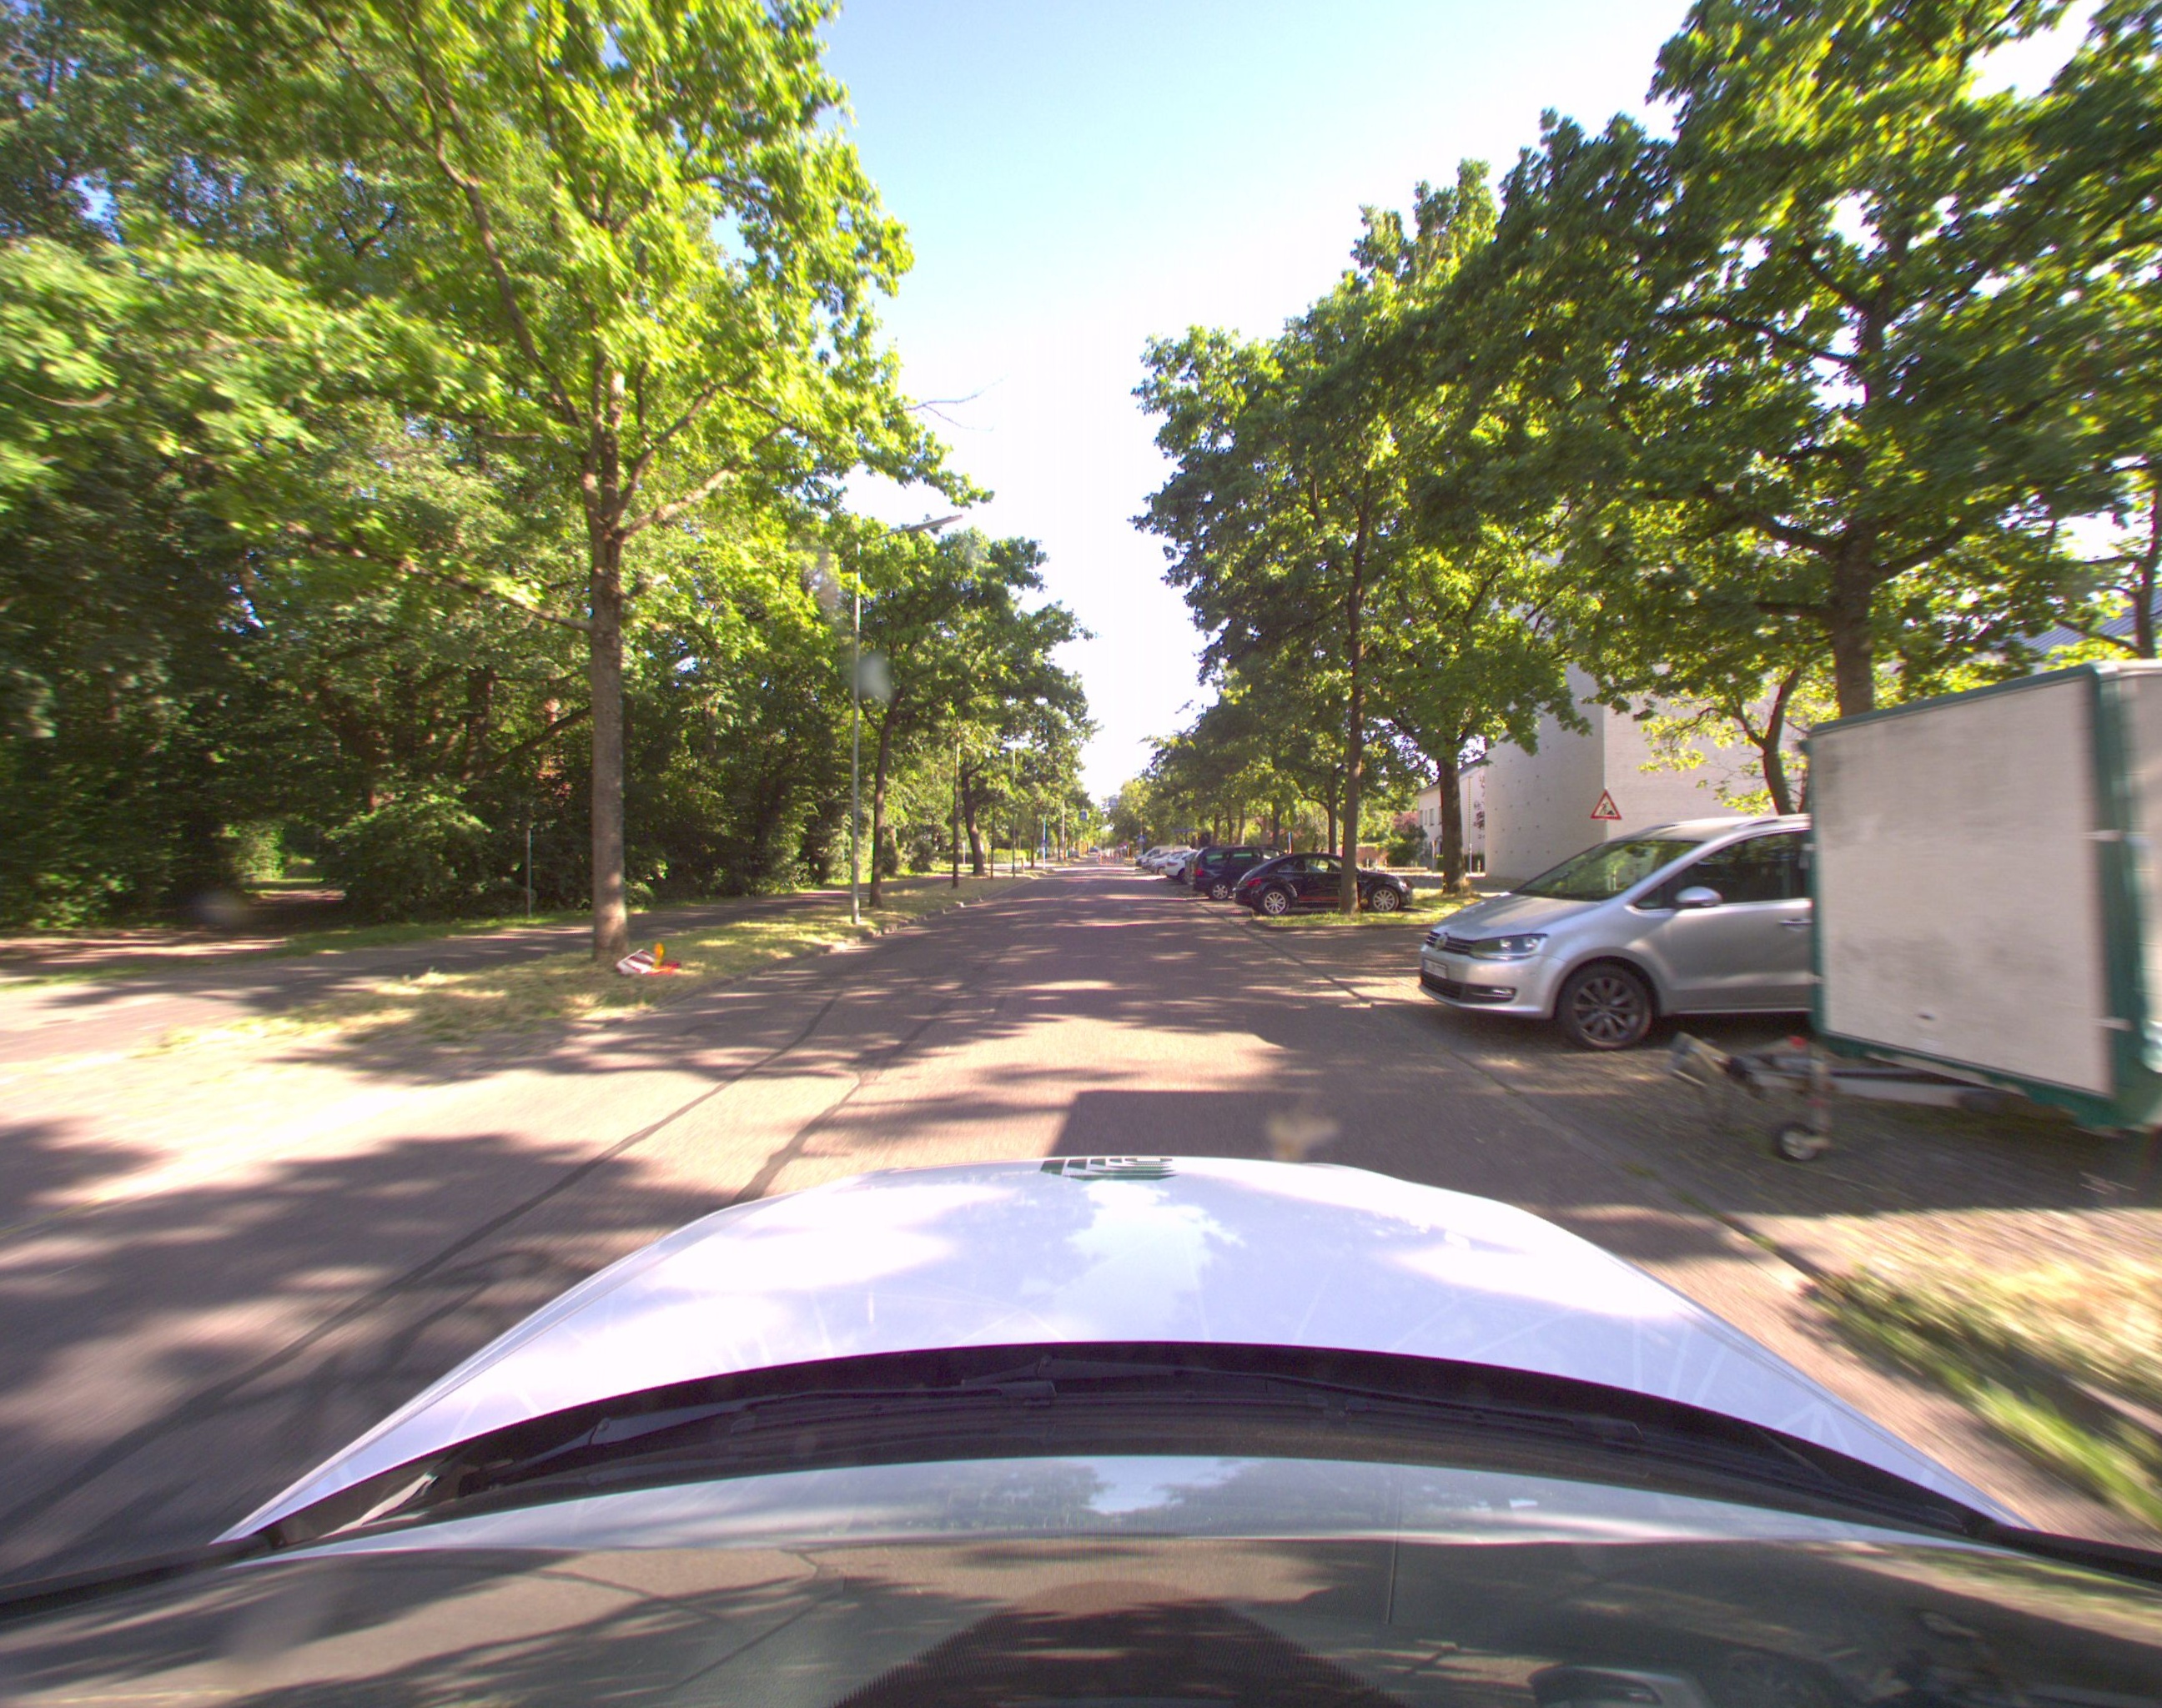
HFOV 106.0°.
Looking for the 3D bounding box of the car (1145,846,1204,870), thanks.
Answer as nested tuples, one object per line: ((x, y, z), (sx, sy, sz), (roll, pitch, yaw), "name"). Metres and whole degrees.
((7.280, 0.299, 63.514), (4.370, 1.651, 1.851), (-2, 0, 0), "car")

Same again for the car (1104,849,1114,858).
((5.647, -0.166, 166.451), (1.986, 1.716, 4.001), (0, 0, 1), "car")

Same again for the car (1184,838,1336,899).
((5.726, 0.461, 26.433), (4.513, 1.801, 1.937), (-2, 0, 1), "car")

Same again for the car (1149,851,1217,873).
((6.951, 0.562, 55.910), (4.429, 1.390, 1.912), (-1, 0, 1), "car")

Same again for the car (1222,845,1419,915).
((5.713, 0.594, 19.857), (4.228, 1.519, 2.080), (-2, 0, 3), "car")

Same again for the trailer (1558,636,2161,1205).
((5.850, 0.205, 4.114), (5.749, 2.317, 1.688), (-2, 0, 3), "trailer")

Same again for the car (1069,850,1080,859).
((-1.191, 0.054, 157.093), (1.986, 1.716, 4.001), (0, 0, 1), "car")

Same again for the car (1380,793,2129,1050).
((5.211, 0.497, 6.901), (4.623, 1.722, 1.989), (-2, 0, 2), "car")

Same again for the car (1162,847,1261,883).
((6.452, 0.530, 40.580), (4.652, 1.580, 1.918), (-2, 0, 2), "car")

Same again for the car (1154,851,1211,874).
((7.304, 0.591, 58.966), (3.871, 1.497, 1.777), (-2, 0, 1), "car")

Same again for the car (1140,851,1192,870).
((7.114, 0.538, 68.668), (4.199, 1.568, 1.933), (0, 0, 0), "car")

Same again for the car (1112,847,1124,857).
((6.843, -0.354, 150.663), (1.986, 1.716, 4.001), (0, 0, 1), "car")

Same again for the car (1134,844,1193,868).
((7.464, 0.158, 73.827), (5.170, 2.105, 2.082), (-1, 0, 0), "car")

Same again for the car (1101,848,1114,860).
((4.247, 0.034, 129.816), (1.986, 1.933, 4.001), (0, 0, 1), "car")

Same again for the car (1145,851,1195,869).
((7.165, 0.476, 66.053), (3.970, 1.433, 1.902), (0, 0, 3), "car")
